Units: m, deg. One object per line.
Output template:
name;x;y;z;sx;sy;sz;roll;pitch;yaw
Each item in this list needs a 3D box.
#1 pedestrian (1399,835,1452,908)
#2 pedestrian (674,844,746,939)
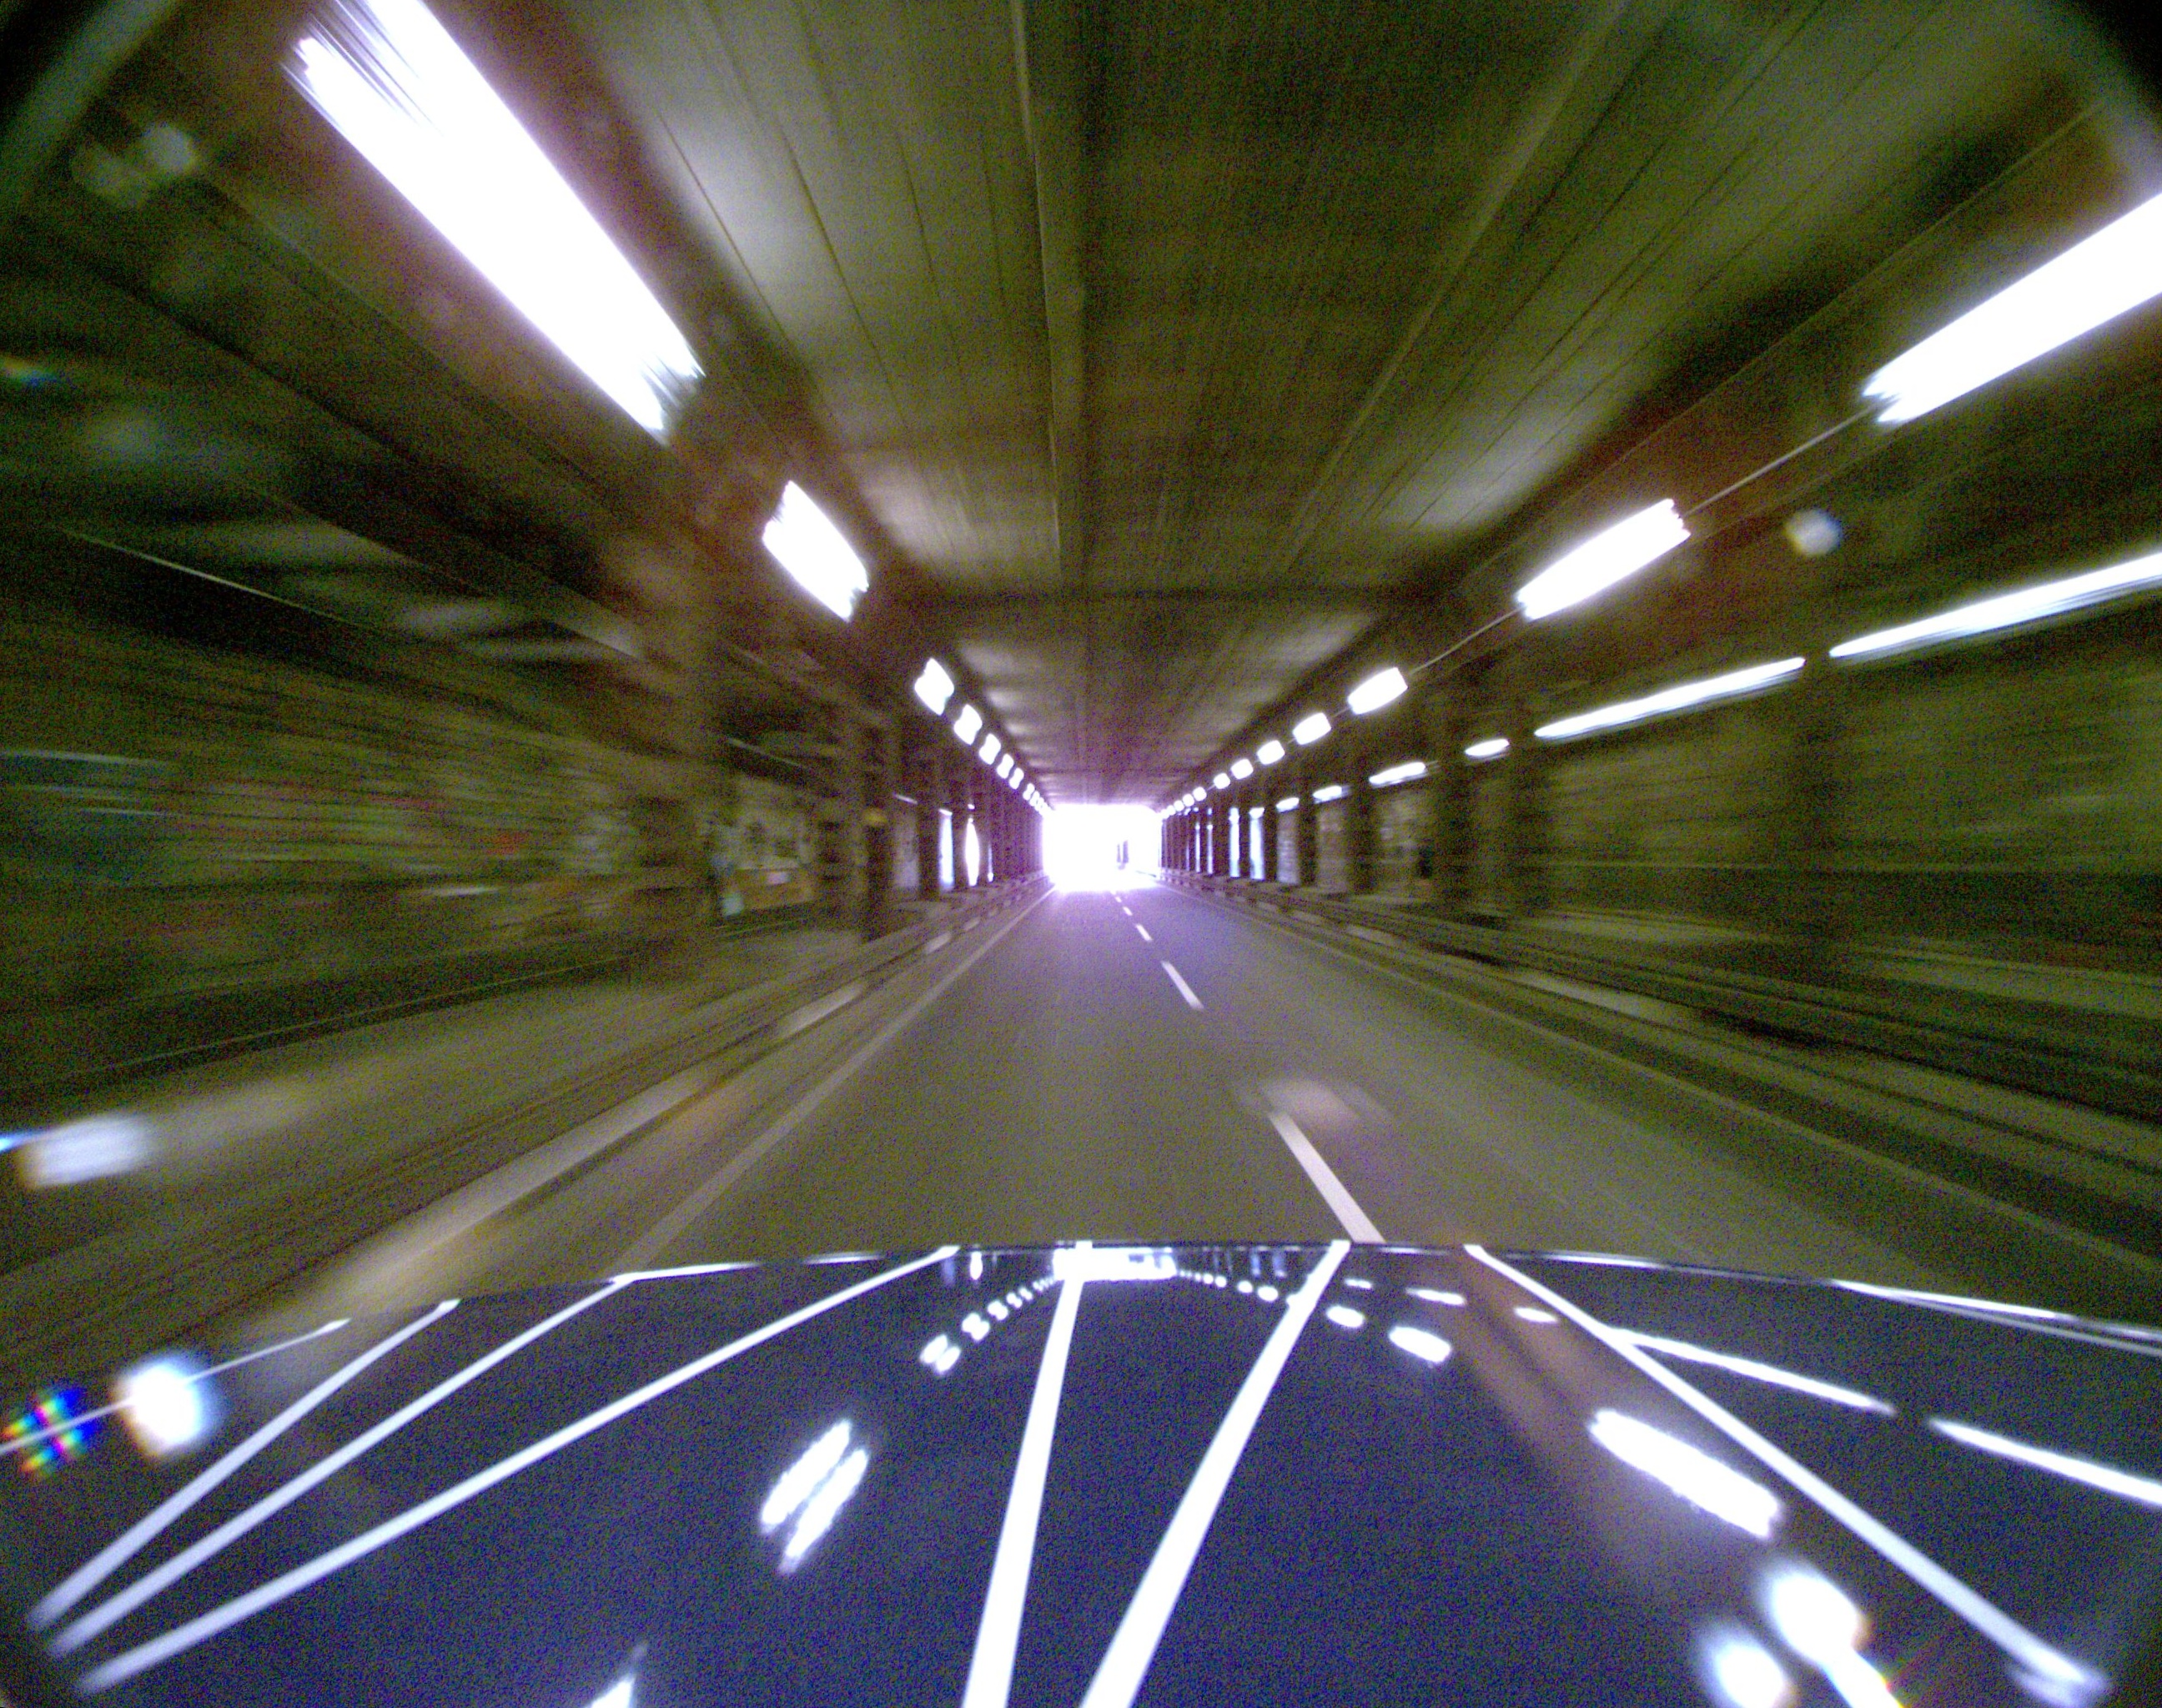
pedestrian;10.028;0.475;22.156;0.961;2.044;1.355;-1;2;1
pedestrian;-6.904;0.677;14.182;0.802;1.692;1.111;0;1;0
